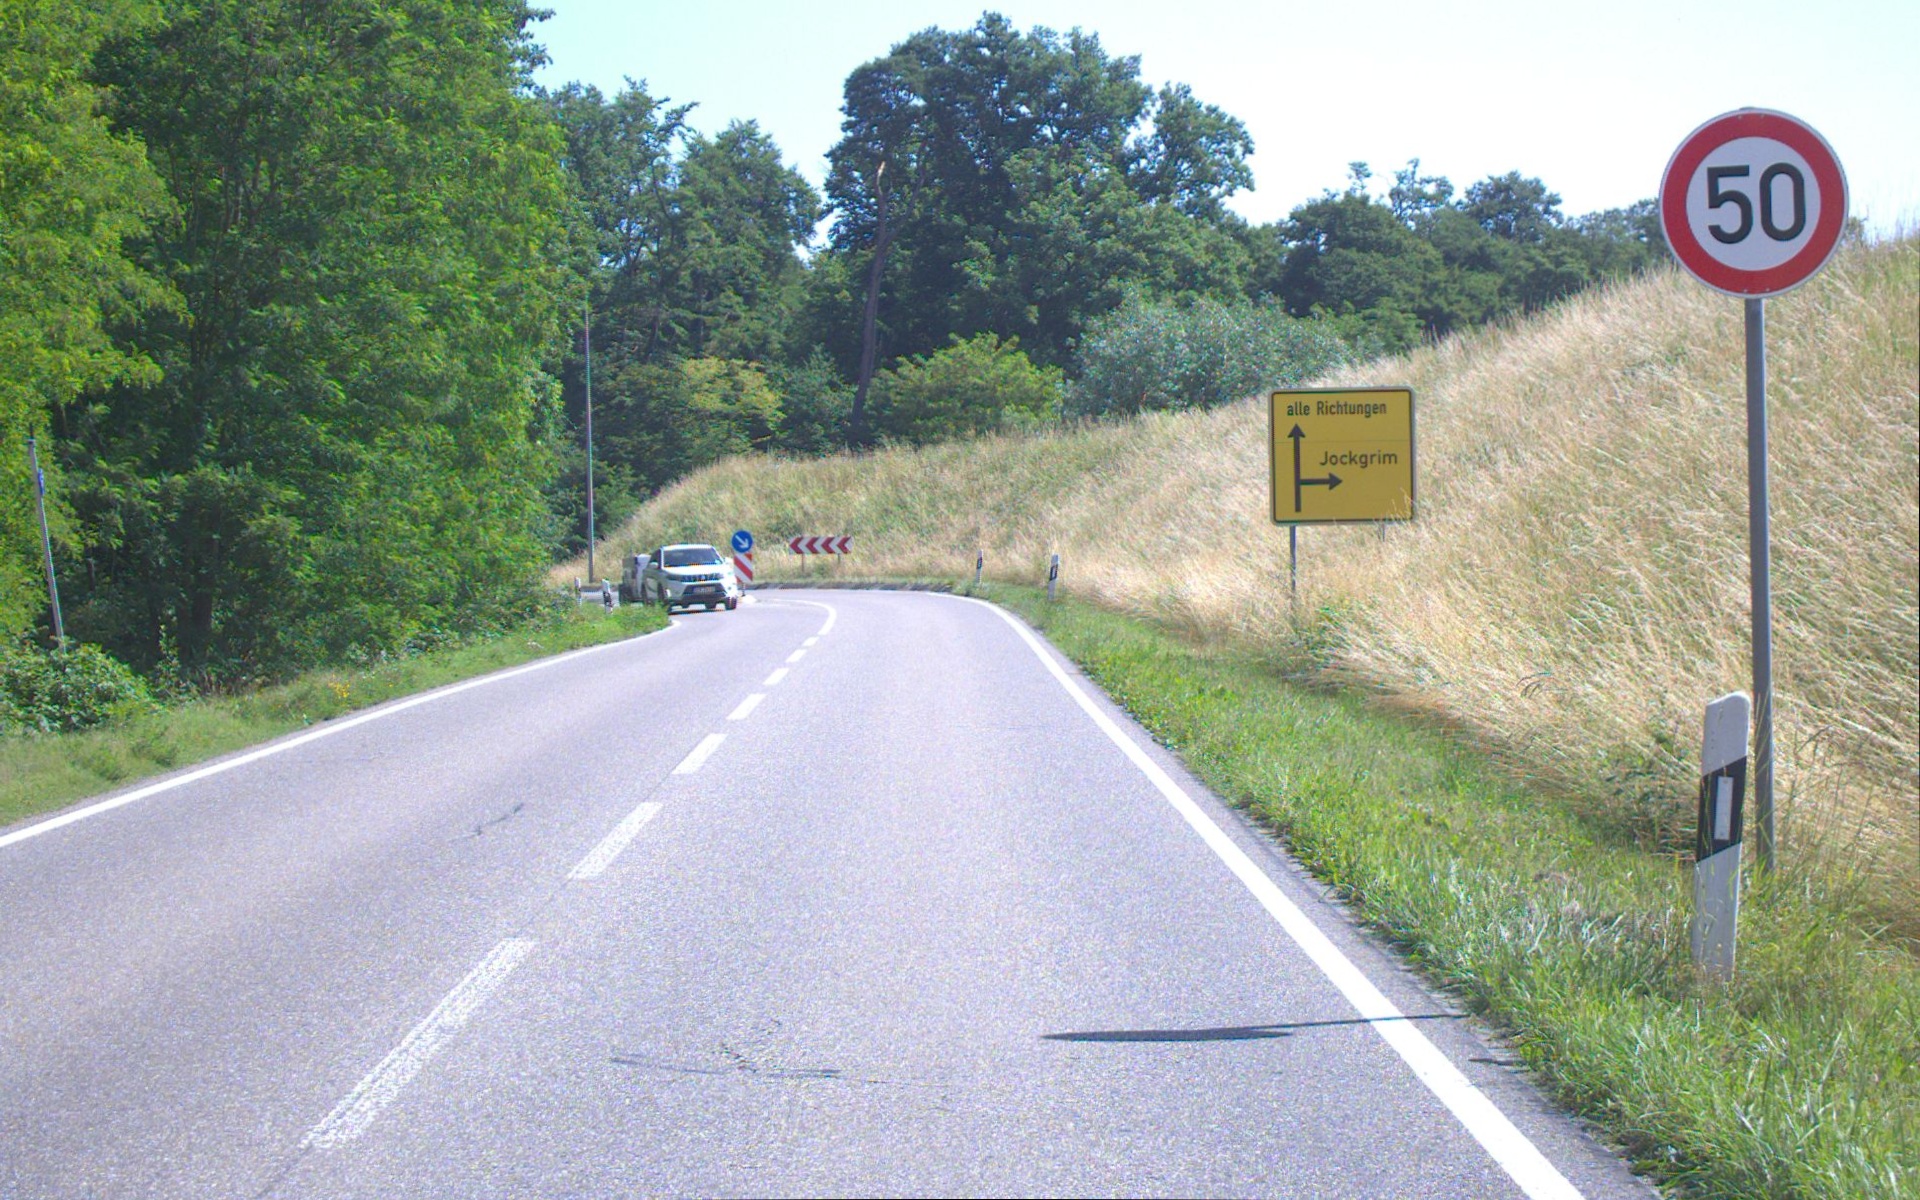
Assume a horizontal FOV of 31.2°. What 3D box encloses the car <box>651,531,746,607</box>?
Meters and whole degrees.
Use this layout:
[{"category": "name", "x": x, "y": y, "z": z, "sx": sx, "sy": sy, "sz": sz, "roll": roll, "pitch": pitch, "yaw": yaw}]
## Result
[{"category": "car", "x": -6.148, "y": -0.749, "z": 81.318, "sx": 1.809, "sy": 1.671, "sz": 4.000, "roll": -3, "pitch": 1, "yaw": 1}]
